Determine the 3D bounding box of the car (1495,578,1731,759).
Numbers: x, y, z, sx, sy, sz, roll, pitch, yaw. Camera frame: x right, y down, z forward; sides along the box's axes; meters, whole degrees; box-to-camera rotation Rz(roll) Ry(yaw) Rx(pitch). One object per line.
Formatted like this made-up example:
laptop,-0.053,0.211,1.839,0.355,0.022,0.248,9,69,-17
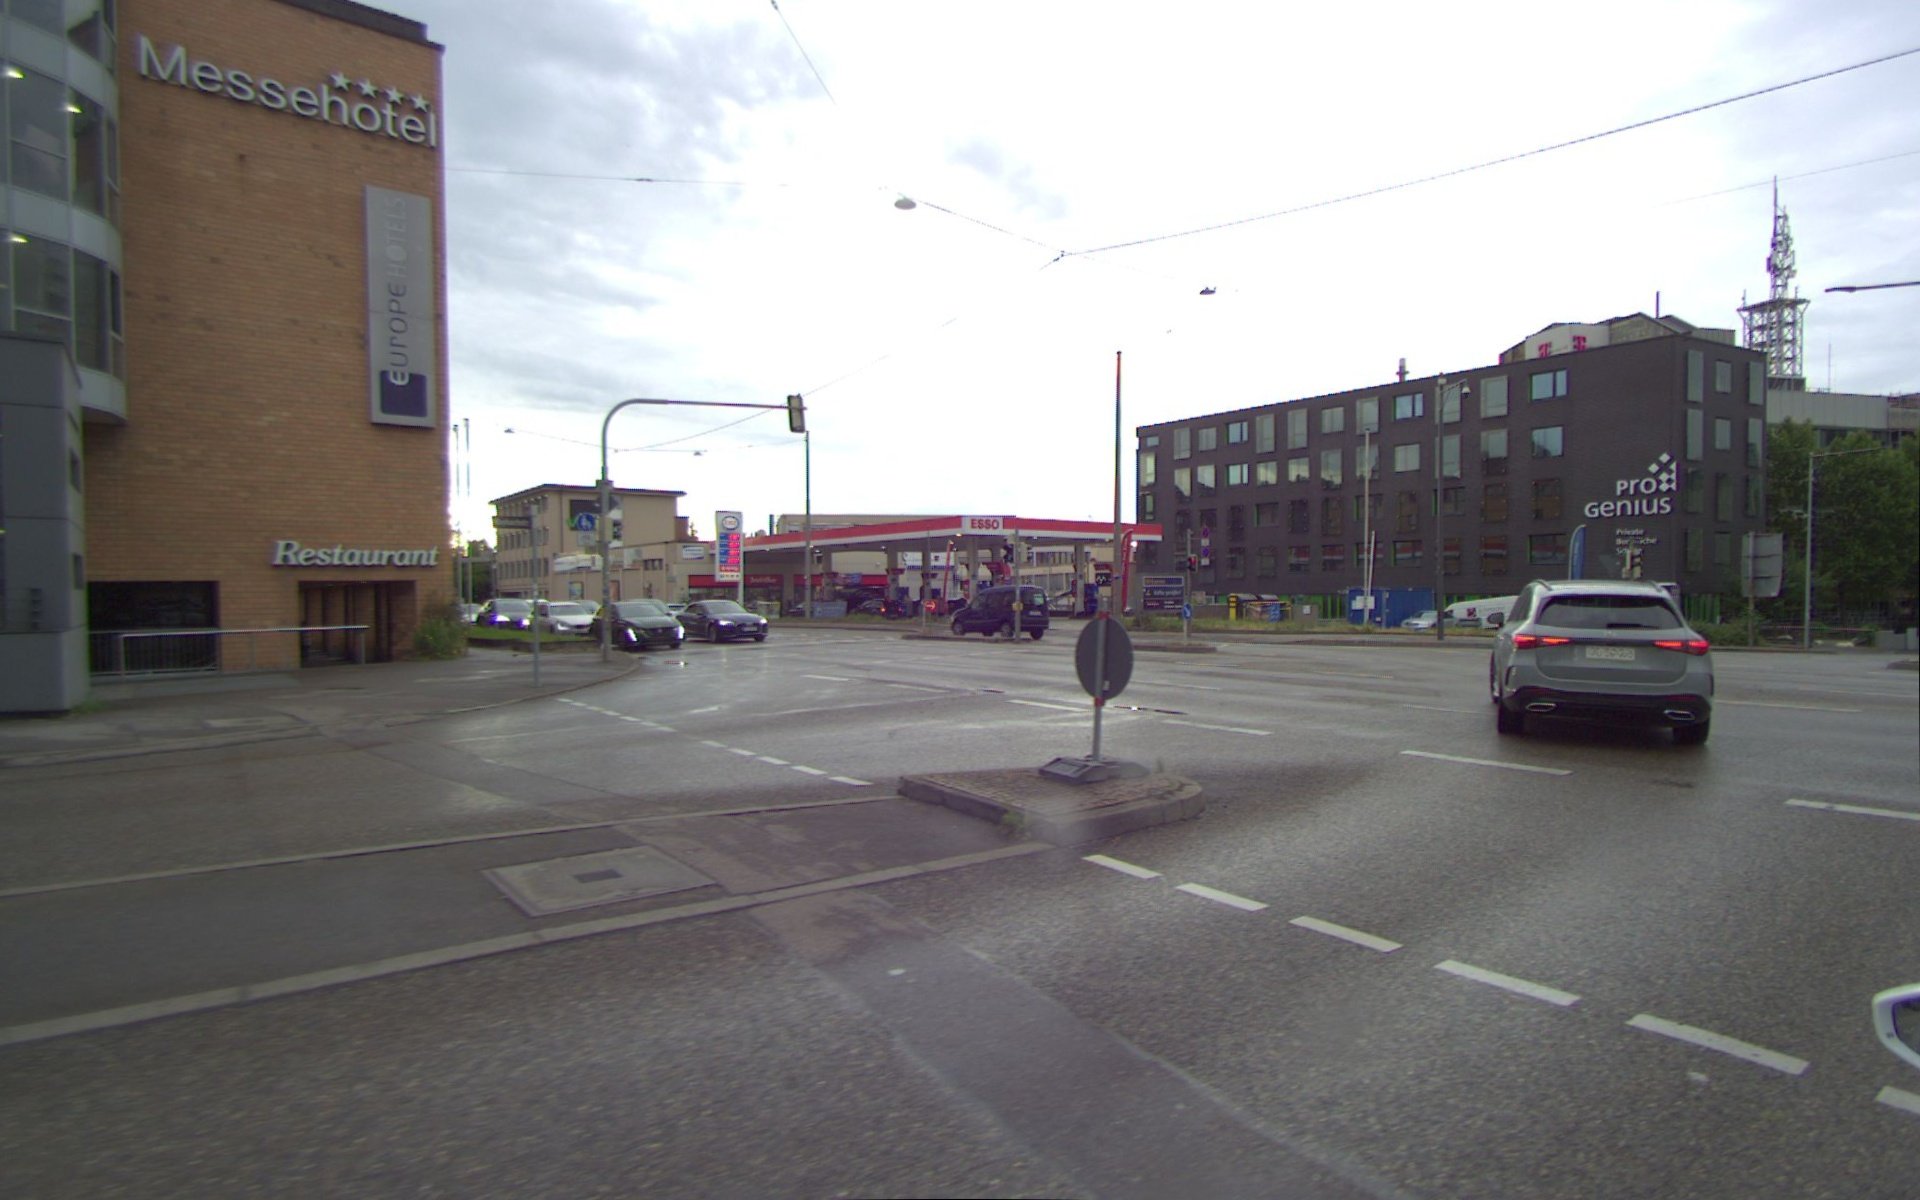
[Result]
car,7.271,0.592,11.477,1.880,1.654,4.202,1,1,30

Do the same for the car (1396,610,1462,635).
car,27.624,1.323,59.133,3.960,1.305,1.784,2,1,-35

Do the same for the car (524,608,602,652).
car,-14.476,1.033,36.507,1.682,1.419,4.046,-2,1,-36

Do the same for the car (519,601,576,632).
car,-20.785,0.805,50.546,1.682,1.419,4.046,-2,1,-36

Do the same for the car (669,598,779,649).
car,-8.007,0.742,33.844,1.948,1.546,4.214,-2,2,-39

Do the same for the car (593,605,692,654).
car,-9.852,0.858,31.004,1.636,1.339,3.956,-2,1,-38

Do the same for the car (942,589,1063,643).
car,1.469,0.541,35.419,4.074,1.792,1.847,1,0,44

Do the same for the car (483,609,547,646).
car,-18.963,1.135,42.719,1.682,1.419,4.046,-2,1,-36

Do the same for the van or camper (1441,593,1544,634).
van or camper,34.773,0.842,65.688,2.716,2.400,5.287,2,1,-39

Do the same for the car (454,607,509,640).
car,-22.977,1.110,48.165,1.682,1.419,4.046,-2,1,-36
